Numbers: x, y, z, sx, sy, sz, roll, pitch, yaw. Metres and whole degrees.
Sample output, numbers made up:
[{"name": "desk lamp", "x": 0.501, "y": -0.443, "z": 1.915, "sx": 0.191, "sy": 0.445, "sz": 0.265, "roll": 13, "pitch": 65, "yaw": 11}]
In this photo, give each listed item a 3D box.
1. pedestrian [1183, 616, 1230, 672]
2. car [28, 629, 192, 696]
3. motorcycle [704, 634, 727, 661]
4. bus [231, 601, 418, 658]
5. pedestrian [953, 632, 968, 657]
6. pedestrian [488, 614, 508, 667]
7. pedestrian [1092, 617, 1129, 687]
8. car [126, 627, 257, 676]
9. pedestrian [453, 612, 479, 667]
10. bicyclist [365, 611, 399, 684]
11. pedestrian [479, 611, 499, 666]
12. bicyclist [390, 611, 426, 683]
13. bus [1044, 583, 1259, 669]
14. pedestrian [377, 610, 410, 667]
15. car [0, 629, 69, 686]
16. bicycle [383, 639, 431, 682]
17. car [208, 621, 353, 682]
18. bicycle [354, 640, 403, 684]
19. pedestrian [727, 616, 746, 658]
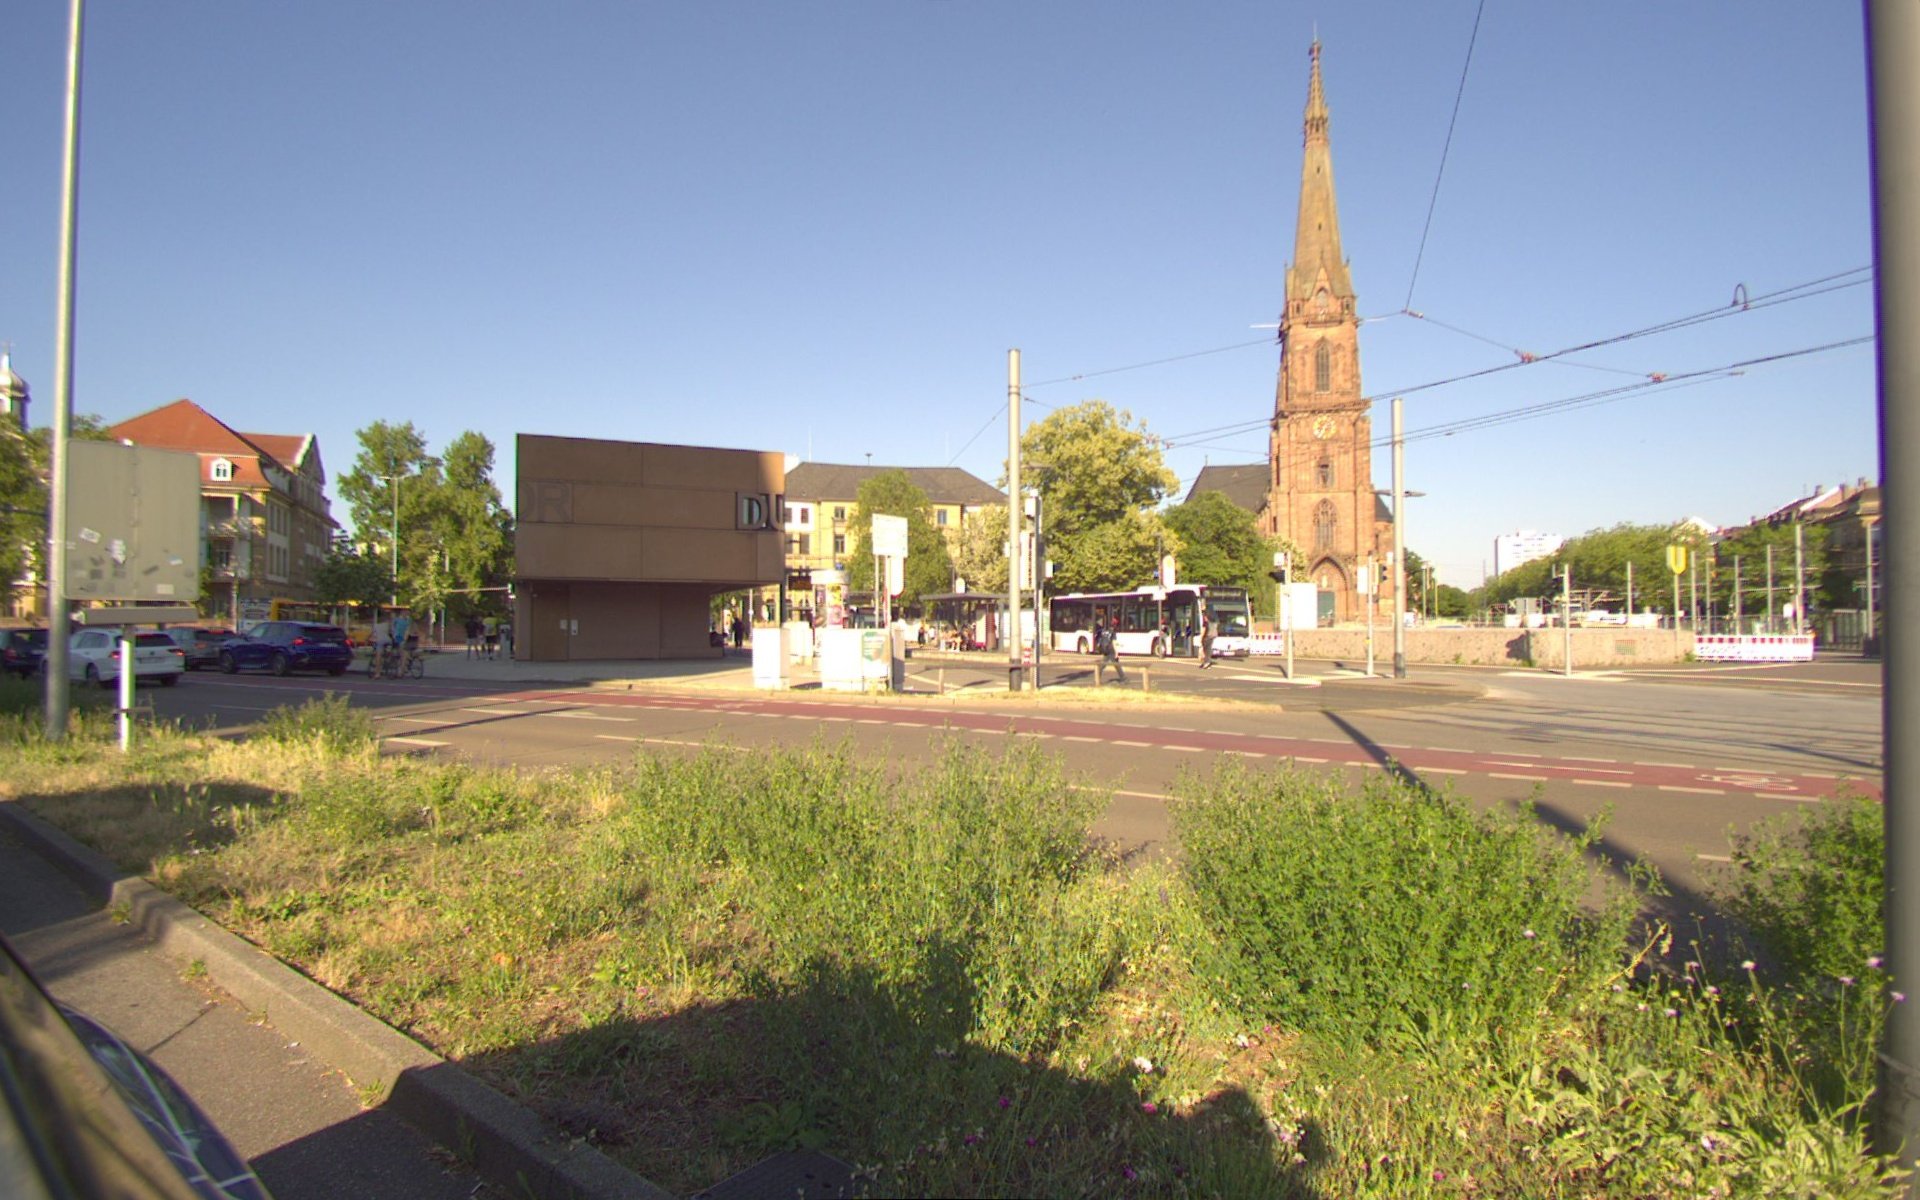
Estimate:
[{"name": "pedestrian", "x": 7.717, "y": 1.367, "z": 31.708, "sx": 1.025, "sy": 1.696, "sz": 1.007, "roll": -1, "pitch": 0, "yaw": -25}, {"name": "car", "x": -21.485, "y": 1.508, "z": 25.545, "sx": 4.375, "sy": 1.503, "sz": 1.831, "roll": -1, "pitch": 0, "yaw": 30}, {"name": "motorcycle", "x": -10.151, "y": 1.964, "z": 42.050, "sx": 0.935, "sy": 1.075, "sz": 0.331, "roll": -1, "pitch": 0, "yaw": -11}, {"name": "bus", "x": -40.081, "y": 1.726, "z": 64.712, "sx": 3.049, "sy": 3.236, "sz": 12.522, "roll": -1, "pitch": 0, "yaw": 6}, {"name": "pedestrian", "x": 0.026, "y": 2.200, "z": 49.922, "sx": 0.531, "sy": 1.196, "sz": 0.660, "roll": -1, "pitch": 0, "yaw": -21}, {"name": "pedestrian", "x": -18.085, "y": 1.587, "z": 39.612, "sx": 0.645, "sy": 2.029, "sz": 0.470, "roll": -1, "pitch": 0, "yaw": -29}, {"name": "pedestrian", "x": 3.893, "y": 1.328, "z": 26.196, "sx": 0.702, "sy": 1.771, "sz": 0.584, "roll": -1, "pitch": 0, "yaw": -30}, {"name": "car", "x": -25.220, "y": 1.662, "z": 33.189, "sx": 4.375, "sy": 1.503, "sz": 1.831, "roll": -1, "pitch": -4, "yaw": 30}, {"name": "pedestrian", "x": -18.778, "y": 1.487, "z": 38.482, "sx": 0.765, "sy": 2.029, "sz": 0.775, "roll": -1, "pitch": 0, "yaw": -37}, {"name": "bicyclist", "x": -16.270, "y": 1.329, "z": 28.501, "sx": 0.562, "sy": 2.029, "sz": 0.605, "roll": -1, "pitch": -2, "yaw": 25}, {"name": "pedestrian", "x": -17.789, "y": 1.442, "z": 38.201, "sx": 0.645, "sy": 2.029, "sz": 0.470, "roll": -1, "pitch": 0, "yaw": -29}, {"name": "bicyclist", "x": -15.903, "y": 1.347, "z": 29.152, "sx": 0.705, "sy": 2.029, "sz": 0.605, "roll": -1, "pitch": -2, "yaw": 25}, {"name": "bus", "x": 7.671, "y": 0.974, "z": 43.350, "sx": 2.655, "sy": 3.174, "sz": 12.216, "roll": -1, "pitch": 0, "yaw": -23}, {"name": "pedestrian", "x": -19.108, "y": 1.304, "z": 34.152, "sx": 0.787, "sy": 1.911, "sz": 0.612, "roll": 0, "pitch": -2, "yaw": -9}, {"name": "car", "x": -26.929, "y": 1.579, "z": 28.503, "sx": 4.177, "sy": 1.471, "sz": 1.737, "roll": -1, "pitch": 0, "yaw": 34}, {"name": "bicycle", "x": -15.944, "y": 1.744, "z": 29.180, "sx": 1.388, "sy": 1.201, "sz": 0.461, "roll": -1, "pitch": 0, "yaw": 23}, {"name": "car", "x": -20.181, "y": 1.473, "z": 30.061, "sx": 4.166, "sy": 1.703, "sz": 1.741, "roll": -1, "pitch": -1, "yaw": 26}, {"name": "bicycle", "x": -16.430, "y": 1.750, "z": 28.578, "sx": 1.388, "sy": 1.201, "sz": 0.461, "roll": -1, "pitch": 0, "yaw": 23}, {"name": "pedestrian", "x": -10.982, "y": 1.826, "z": 49.790, "sx": 0.762, "sy": 2.029, "sz": 0.778, "roll": -1, "pitch": 0, "yaw": -2}]
